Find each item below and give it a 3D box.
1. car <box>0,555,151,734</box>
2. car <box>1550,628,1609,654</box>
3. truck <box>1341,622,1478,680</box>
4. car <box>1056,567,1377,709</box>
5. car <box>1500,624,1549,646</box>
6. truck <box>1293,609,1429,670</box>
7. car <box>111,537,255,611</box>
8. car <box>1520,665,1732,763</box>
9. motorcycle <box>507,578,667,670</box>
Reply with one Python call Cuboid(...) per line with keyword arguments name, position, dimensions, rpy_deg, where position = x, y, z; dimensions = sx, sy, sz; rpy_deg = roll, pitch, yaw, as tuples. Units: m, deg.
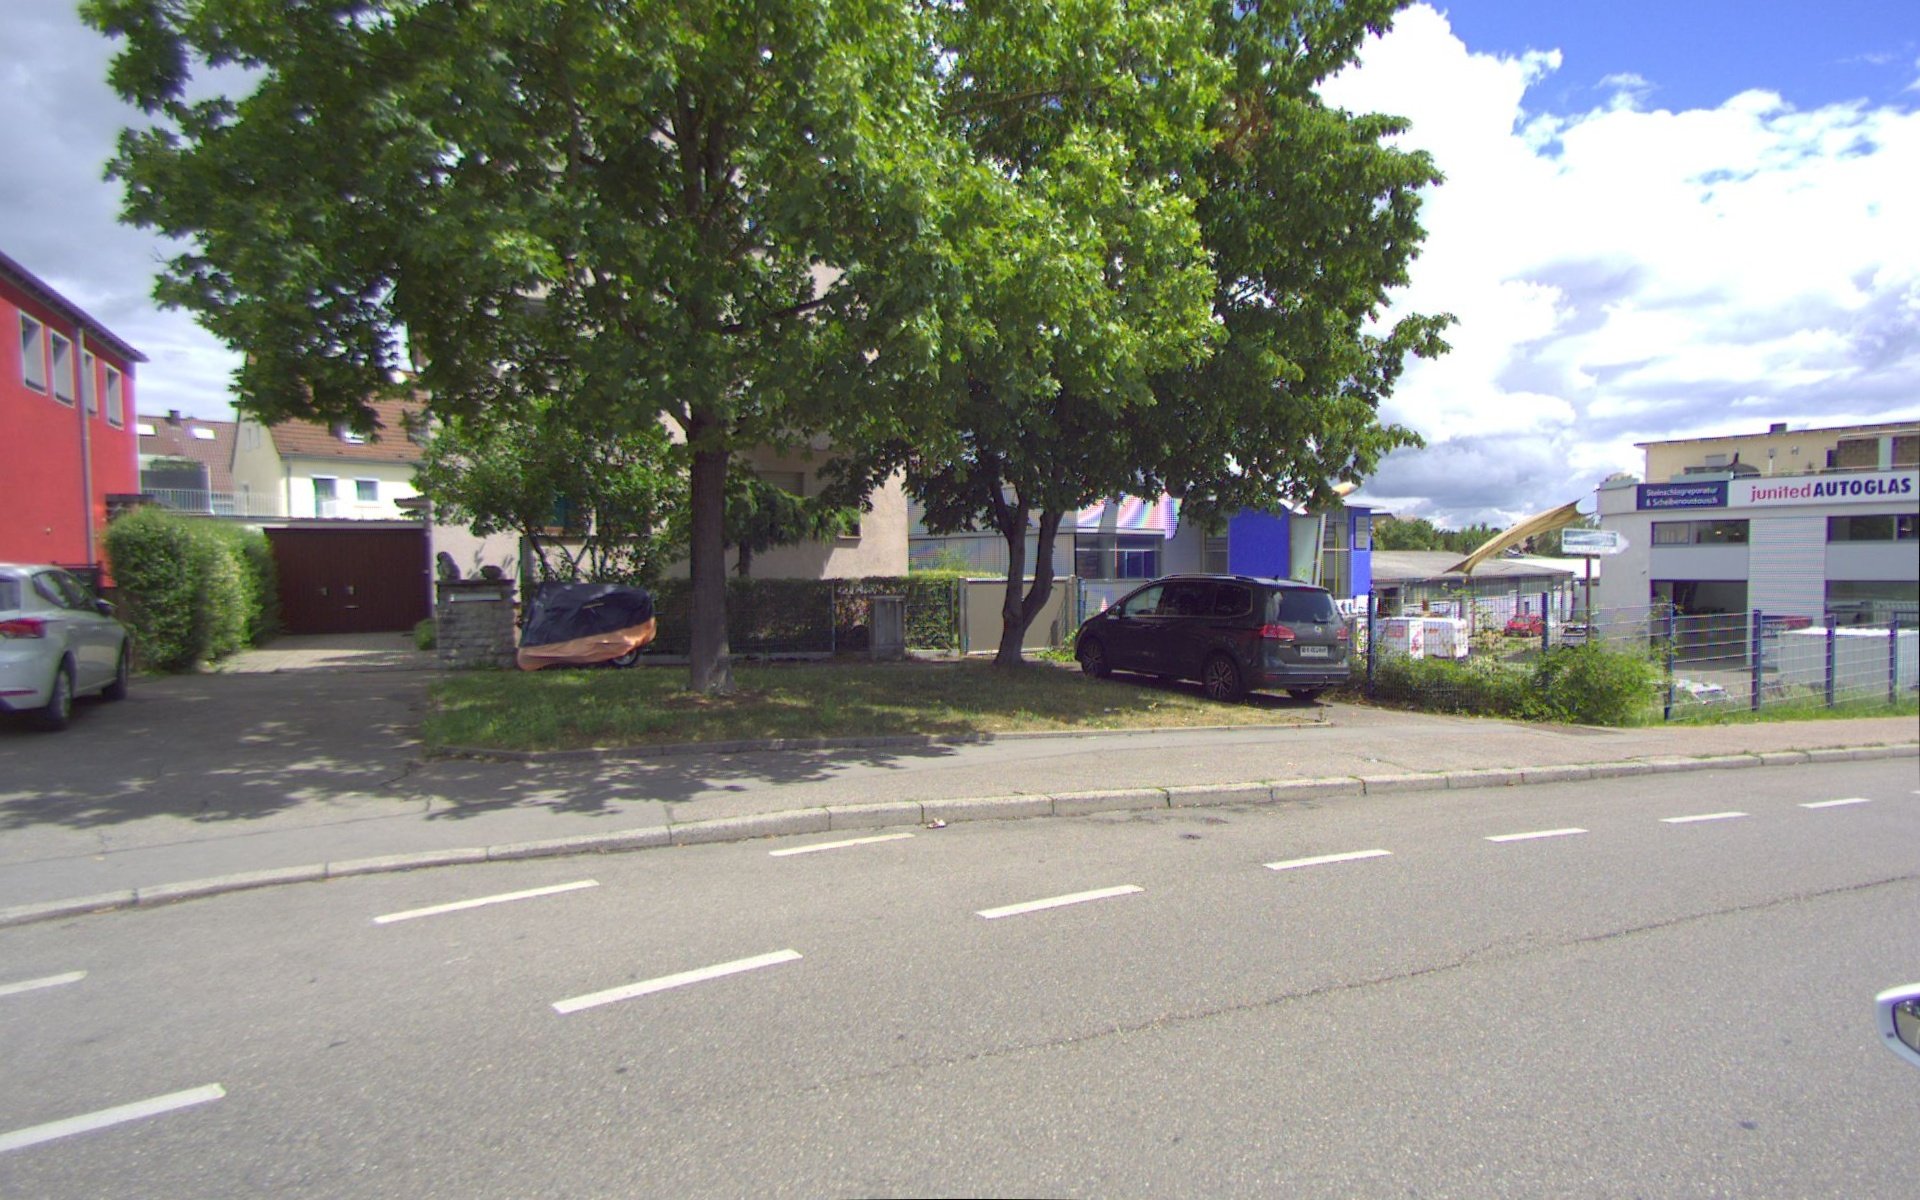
Cuboid(name="car", position=(-9.083, 0.324, 9.394), dimensions=(1.855, 1.423, 3.898), rpy_deg=(1, 0, -32))
Cuboid(name="car", position=(35.104, 2.309, 56.908), dimensions=(1.973, 1.372, 3.974), rpy_deg=(1, 0, 45))
Cuboid(name="truck", position=(21.882, 2.434, 49.090), dimensions=(2.190, 2.608, 5.730), rpy_deg=(2, -2, -41))
Cuboid(name="car", position=(3.617, 0.462, 15.151), dimensions=(1.976, 1.739, 4.677), rpy_deg=(3, 1, -29))
Cuboid(name="car", position=(38.832, 2.408, 69.077), dimensions=(1.973, 1.372, 3.974), rpy_deg=(1, 0, 45))
Cuboid(name="truck", position=(19.029, 1.849, 47.902), dimensions=(2.161, 2.742, 5.730), rpy_deg=(2, -2, -41))
Cuboid(name="car", position=(-16.593, -0.515, 21.646), dimensions=(1.638, 1.423, 3.906), rpy_deg=(1, 0, -25))
Cuboid(name="car", position=(16.477, 2.727, 25.028), dimensions=(1.977, 2.040, 3.967), rpy_deg=(2, -1, -31))
Cuboid(name="motorcycle", position=(-5.809, 0.369, 15.690), dimensions=(2.210, 1.333, 0.913), rpy_deg=(1, 2, -31))
